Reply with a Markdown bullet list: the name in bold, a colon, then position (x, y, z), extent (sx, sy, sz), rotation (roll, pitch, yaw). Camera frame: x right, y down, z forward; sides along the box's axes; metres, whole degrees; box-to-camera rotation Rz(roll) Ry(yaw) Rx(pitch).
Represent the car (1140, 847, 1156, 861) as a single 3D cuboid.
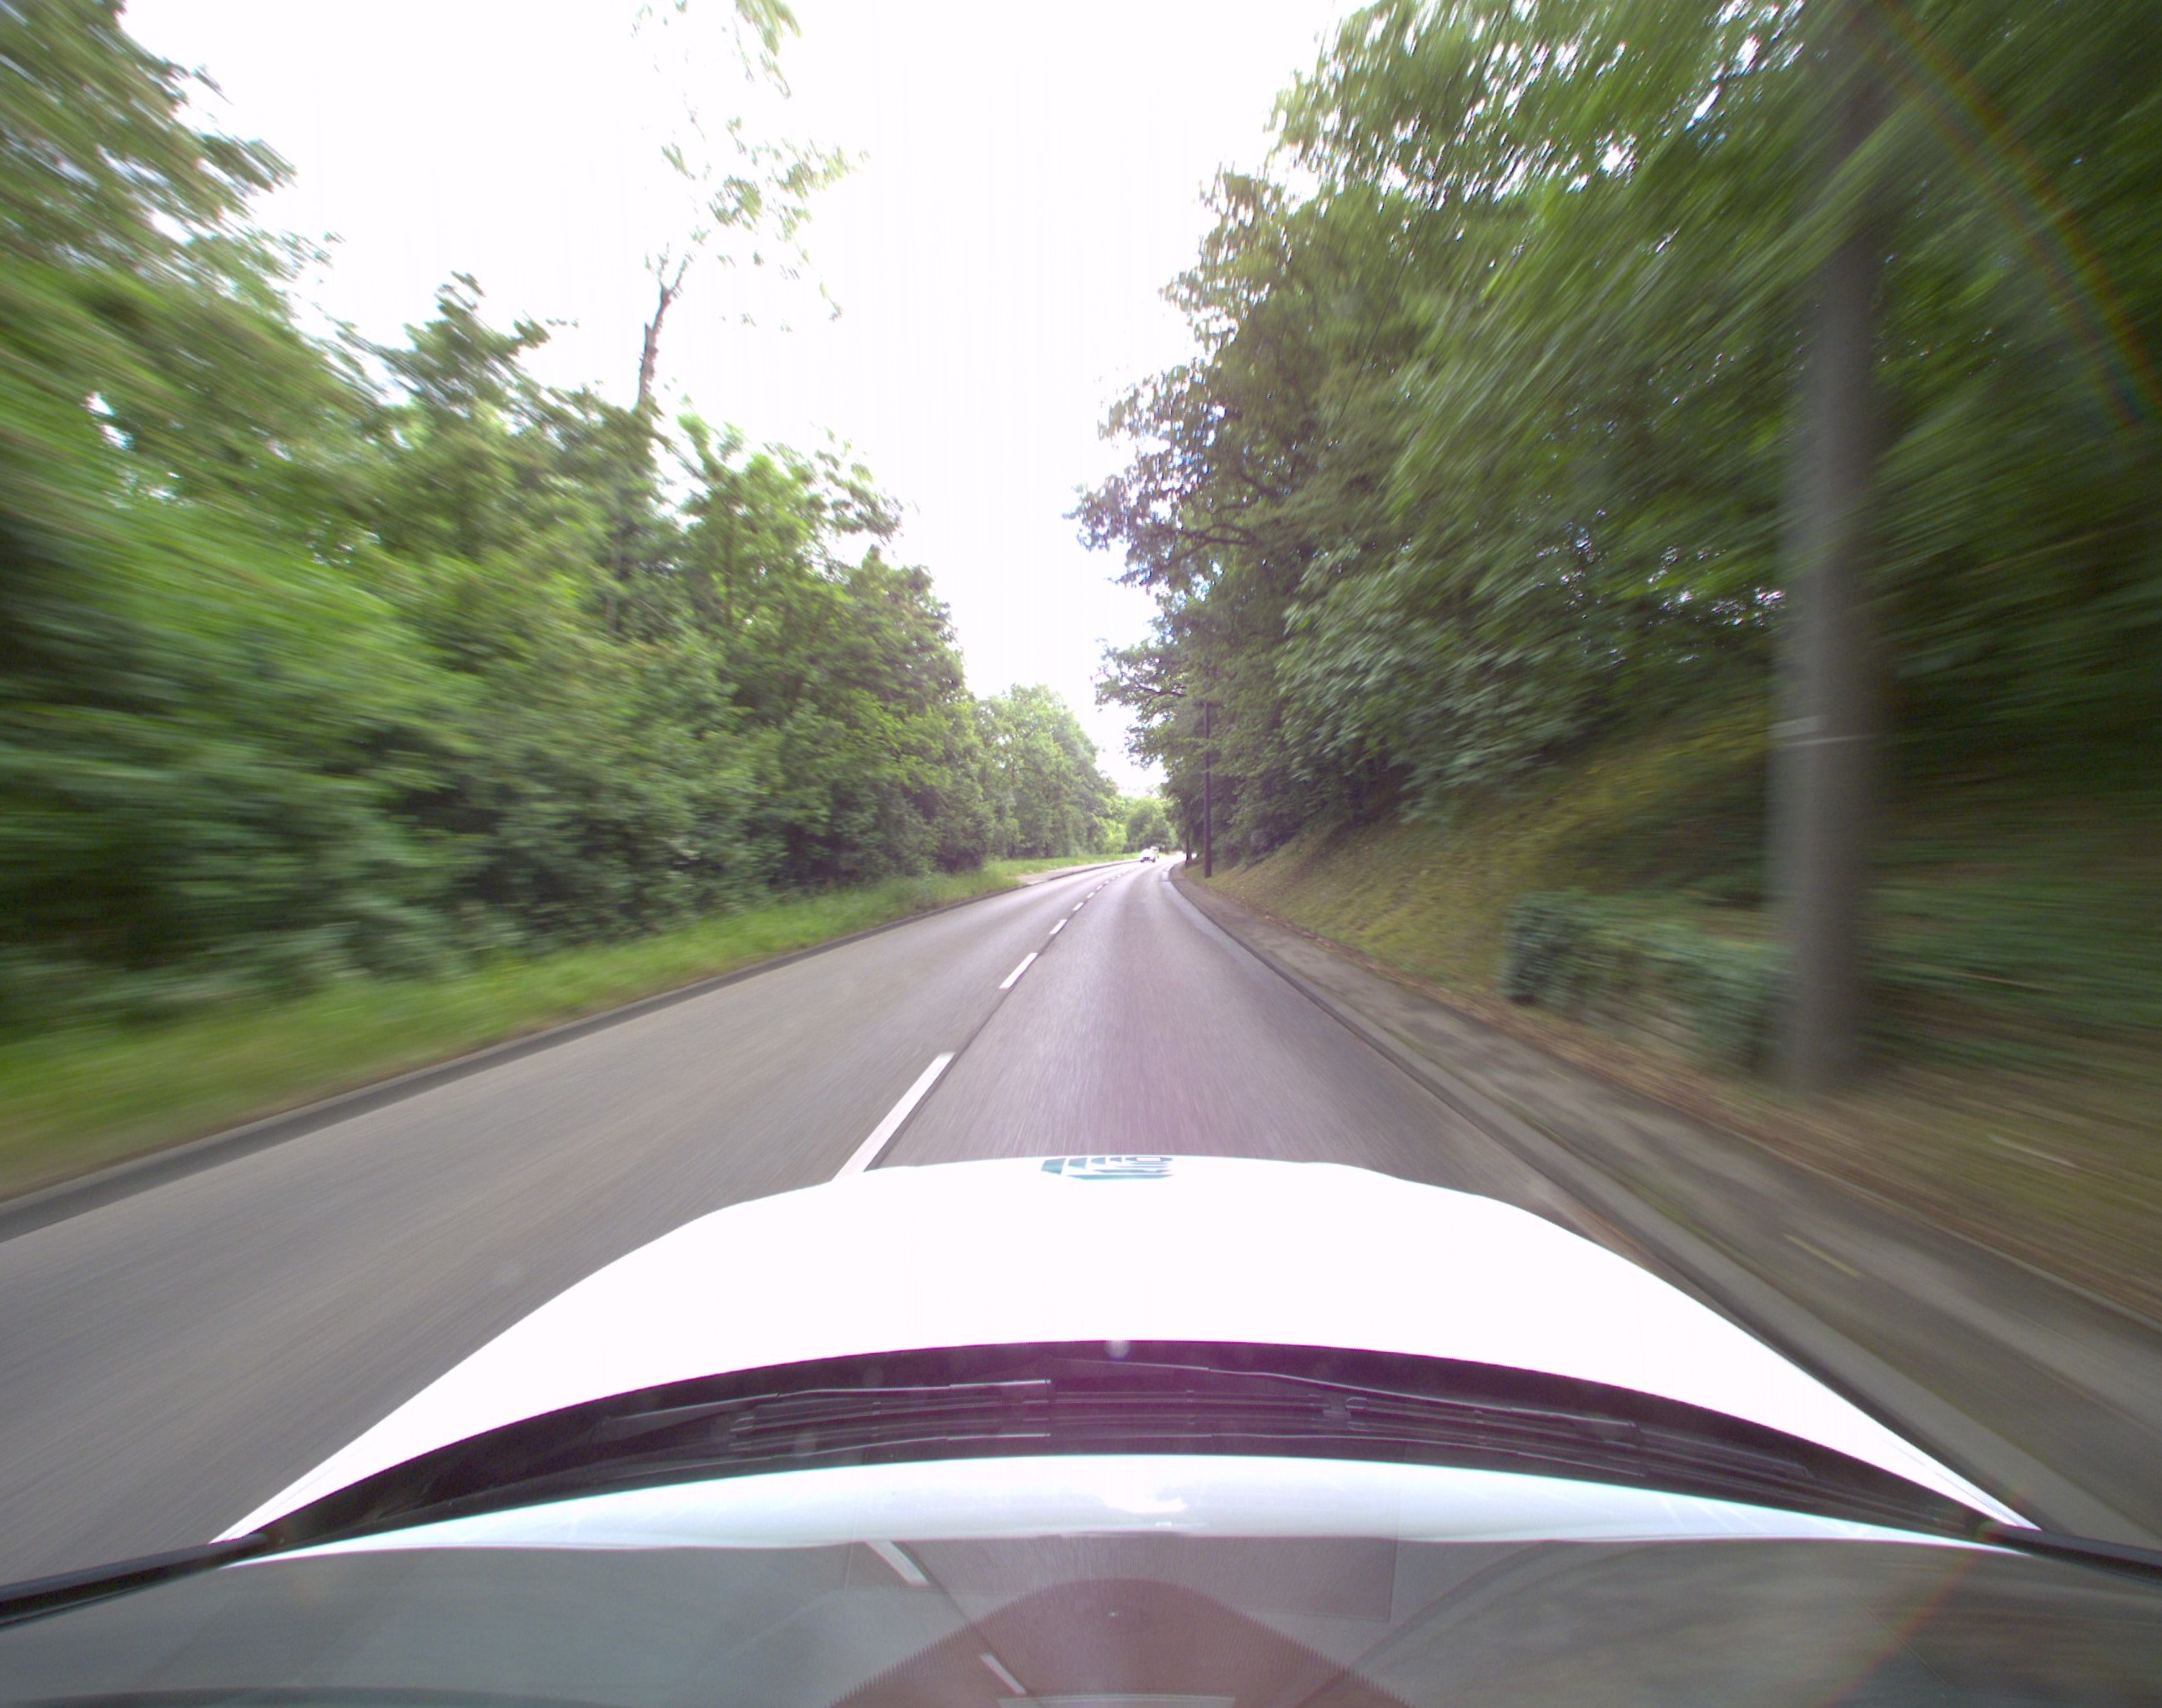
- **car**: position (9.163, 0.021, 111.320), extent (1.983, 1.753, 4.790), rotation (0, -1, 6)
